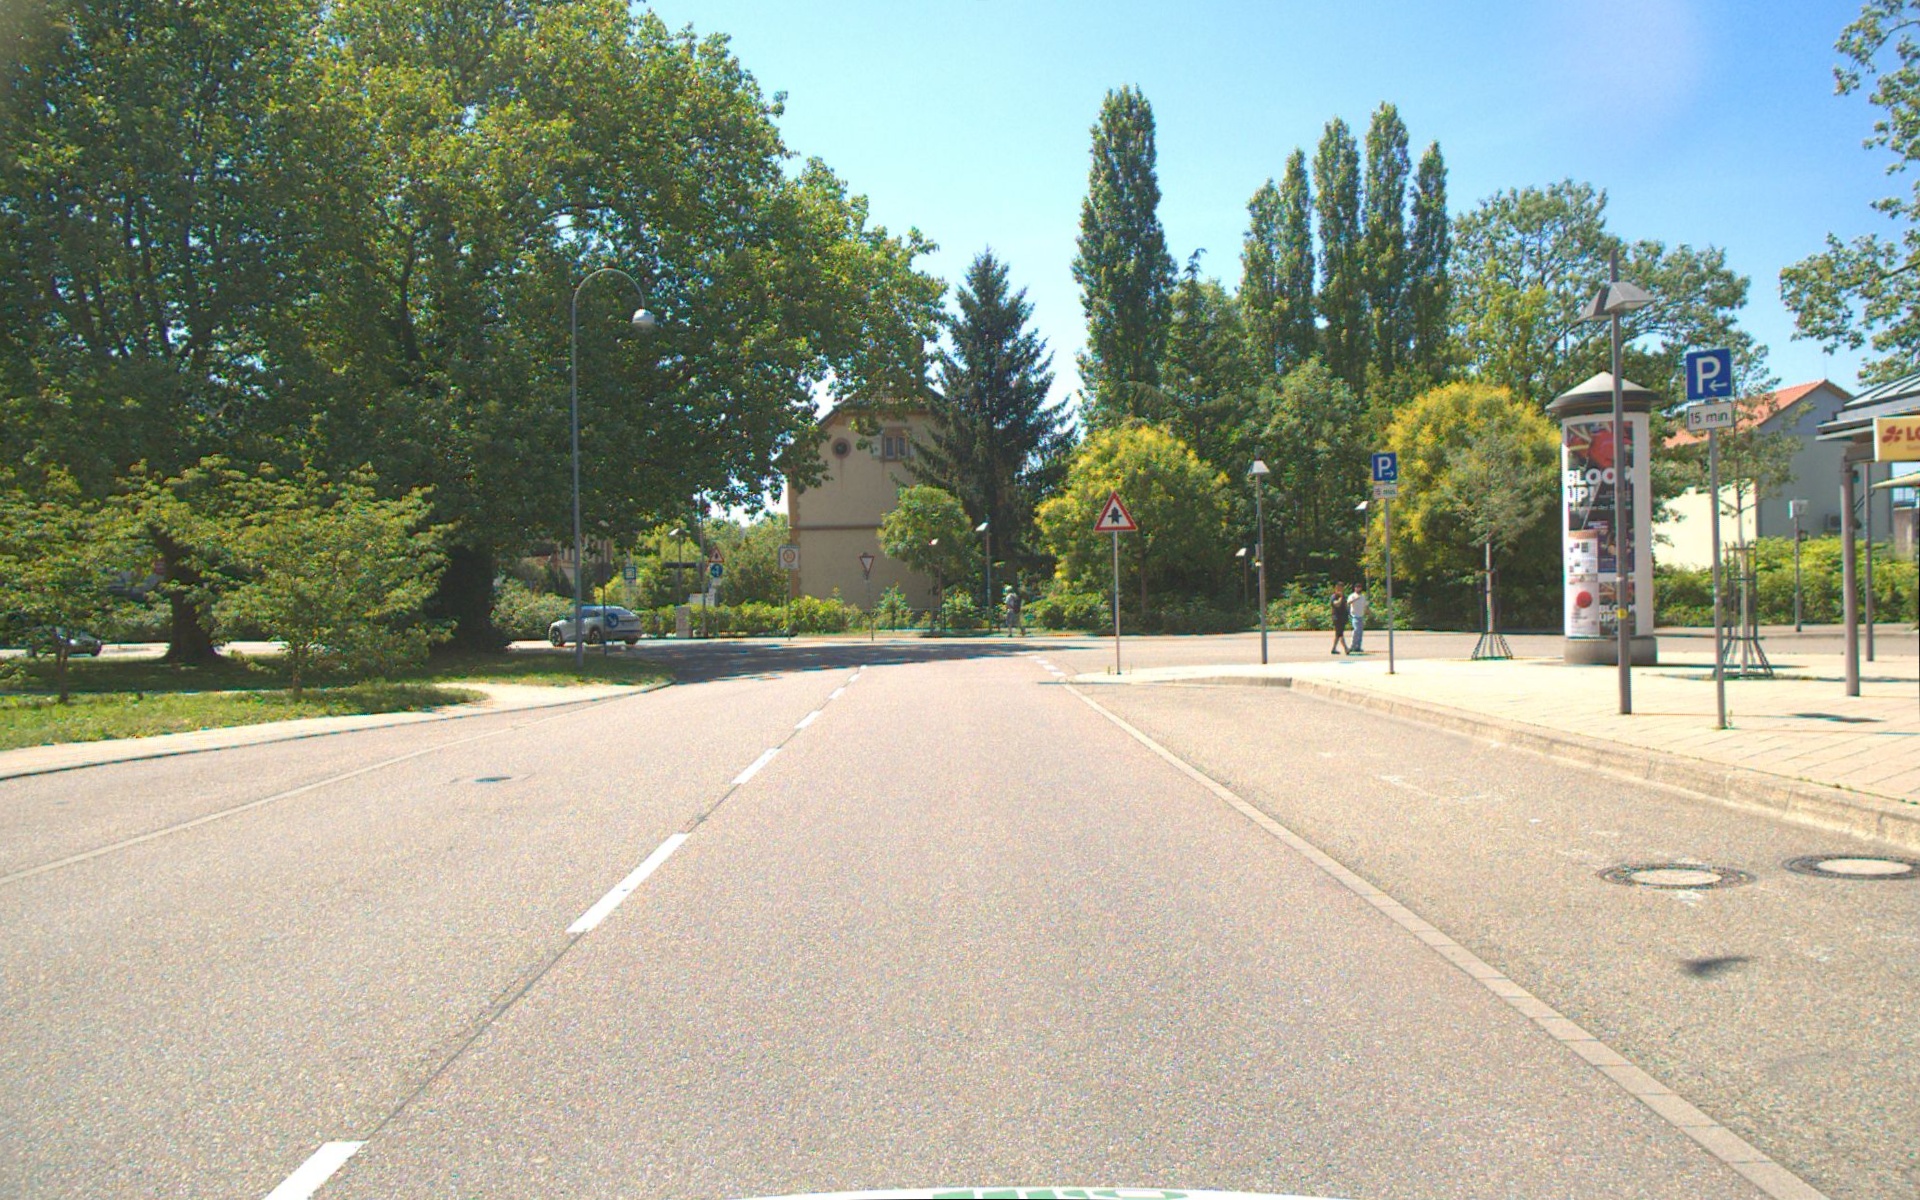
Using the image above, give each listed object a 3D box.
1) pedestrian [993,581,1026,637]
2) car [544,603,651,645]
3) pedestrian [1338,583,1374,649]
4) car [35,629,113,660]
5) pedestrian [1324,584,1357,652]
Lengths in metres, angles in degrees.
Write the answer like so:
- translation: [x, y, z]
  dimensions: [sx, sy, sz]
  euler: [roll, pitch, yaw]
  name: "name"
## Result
- translation: [1.779, 0.316, 59.816]
  dimensions: [0.799, 2.000, 0.844]
  euler: [-1, 0, -41]
  name: "pedestrian"
- translation: [-15.108, 1.005, 68.802]
  dimensions: [4.692, 1.655, 1.978]
  euler: [-2, 0, 42]
  name: "car"
- translation: [10.200, 0.411, 42.596]
  dimensions: [0.706, 1.678, 0.750]
  euler: [-1, -2, 27]
  name: "pedestrian"
- translation: [-41.363, 2.085, 77.165]
  dimensions: [4.115, 1.333, 1.636]
  euler: [-2, 0, 37]
  name: "car"
- translation: [9.522, 0.459, 41.431]
  dimensions: [0.623, 1.678, 0.750]
  euler: [-1, -2, 27]
  name: "pedestrian"
